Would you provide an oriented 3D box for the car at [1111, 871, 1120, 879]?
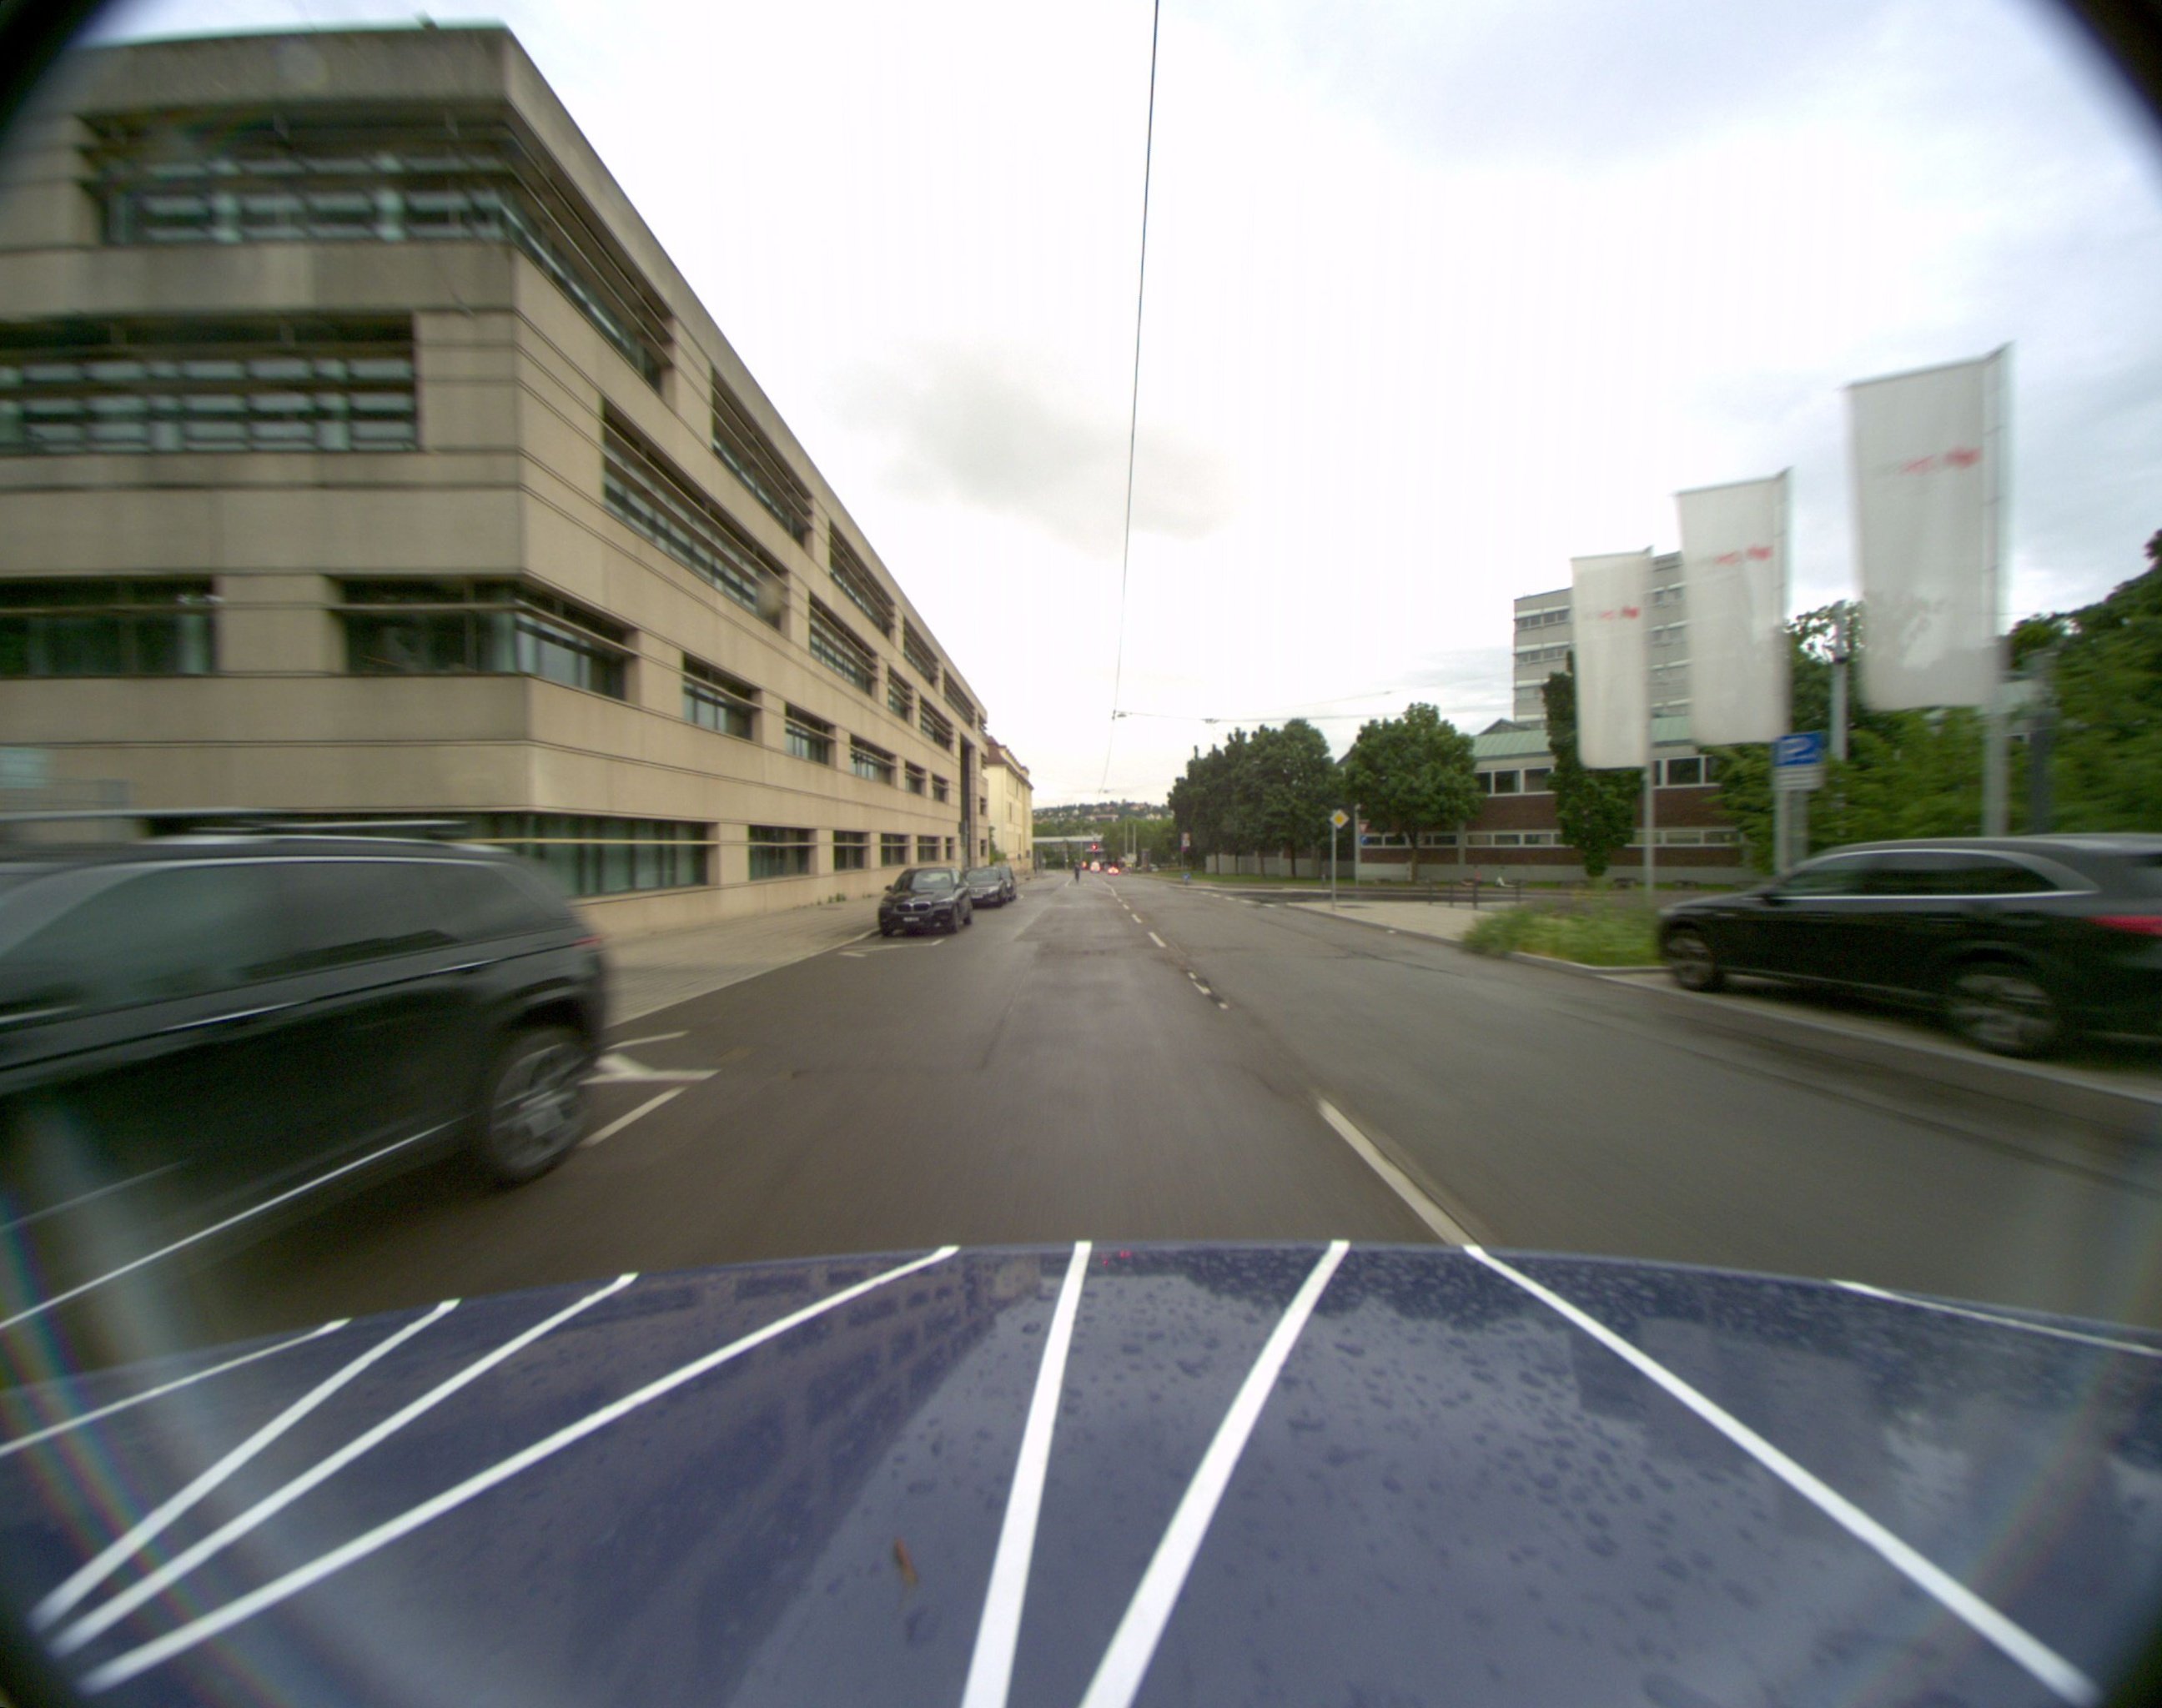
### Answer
[{"bbox_3d":[7.169,4.365,158.173,1.886,1.482,5.221,1,-1,3],"label":"car"}]

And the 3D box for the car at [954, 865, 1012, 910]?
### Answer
[{"bbox_3d":[-3.816,1.268,30.076,1.730,1.503,4.057,-3,1,-1],"label":"car"}]

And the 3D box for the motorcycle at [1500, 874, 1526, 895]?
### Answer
[{"bbox_3d":[23.994,1.671,42.204,1.167,1.118,0.414,1,2,37],"label":"motorcycle"}]

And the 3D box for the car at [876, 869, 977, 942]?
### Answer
[{"bbox_3d":[-3.782,1.198,19.321,1.748,1.524,4.319,-2,0,-1],"label":"car"}]

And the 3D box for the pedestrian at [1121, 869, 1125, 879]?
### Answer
[{"bbox_3d":[7.260,3.507,131.825,0.671,1.676,0.914,-1,1,7],"label":"pedestrian"}]

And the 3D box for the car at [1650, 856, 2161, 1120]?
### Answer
[{"bbox_3d":[7.724,0.850,6.831,1.854,1.608,4.490,-1,0,0],"label":"car"}]

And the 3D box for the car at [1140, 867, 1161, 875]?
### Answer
[{"bbox_3d":[14.615,3.596,159.715,1.872,1.600,4.515,-2,0,-34],"label":"car"}]

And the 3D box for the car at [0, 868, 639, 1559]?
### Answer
[{"bbox_3d":[-3.793,0.982,2.412,1.940,1.740,4.796,-1,0,0],"label":"car"}]

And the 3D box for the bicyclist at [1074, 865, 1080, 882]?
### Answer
[{"bbox_3d":[-0.336,1.743,68.395,0.485,1.425,0.930,-1,1,2],"label":"bicyclist"}]

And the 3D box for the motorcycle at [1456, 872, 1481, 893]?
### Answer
[{"bbox_3d":[22.353,1.640,43.837,1.224,1.178,0.414,-1,1,37],"label":"motorcycle"}]

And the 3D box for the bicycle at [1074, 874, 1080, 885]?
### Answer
[{"bbox_3d":[-0.347,2.255,68.499,0.448,0.957,1.690,-1,-1,2],"label":"bicycle"}]

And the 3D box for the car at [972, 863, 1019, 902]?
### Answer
[{"bbox_3d":[-3.904,1.257,35.321,1.776,1.594,4.394,-1,0,-1],"label":"car"}]

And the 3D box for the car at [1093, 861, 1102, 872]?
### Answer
[{"bbox_3d":[4.052,3.120,189.957,1.988,2.514,5.631,0,-1,-2],"label":"car"}]

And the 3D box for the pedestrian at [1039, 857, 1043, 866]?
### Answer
[{"bbox_3d":[-7.850,1.460,148.705,0.671,1.787,0.852,1,0,1],"label":"pedestrian"}]
